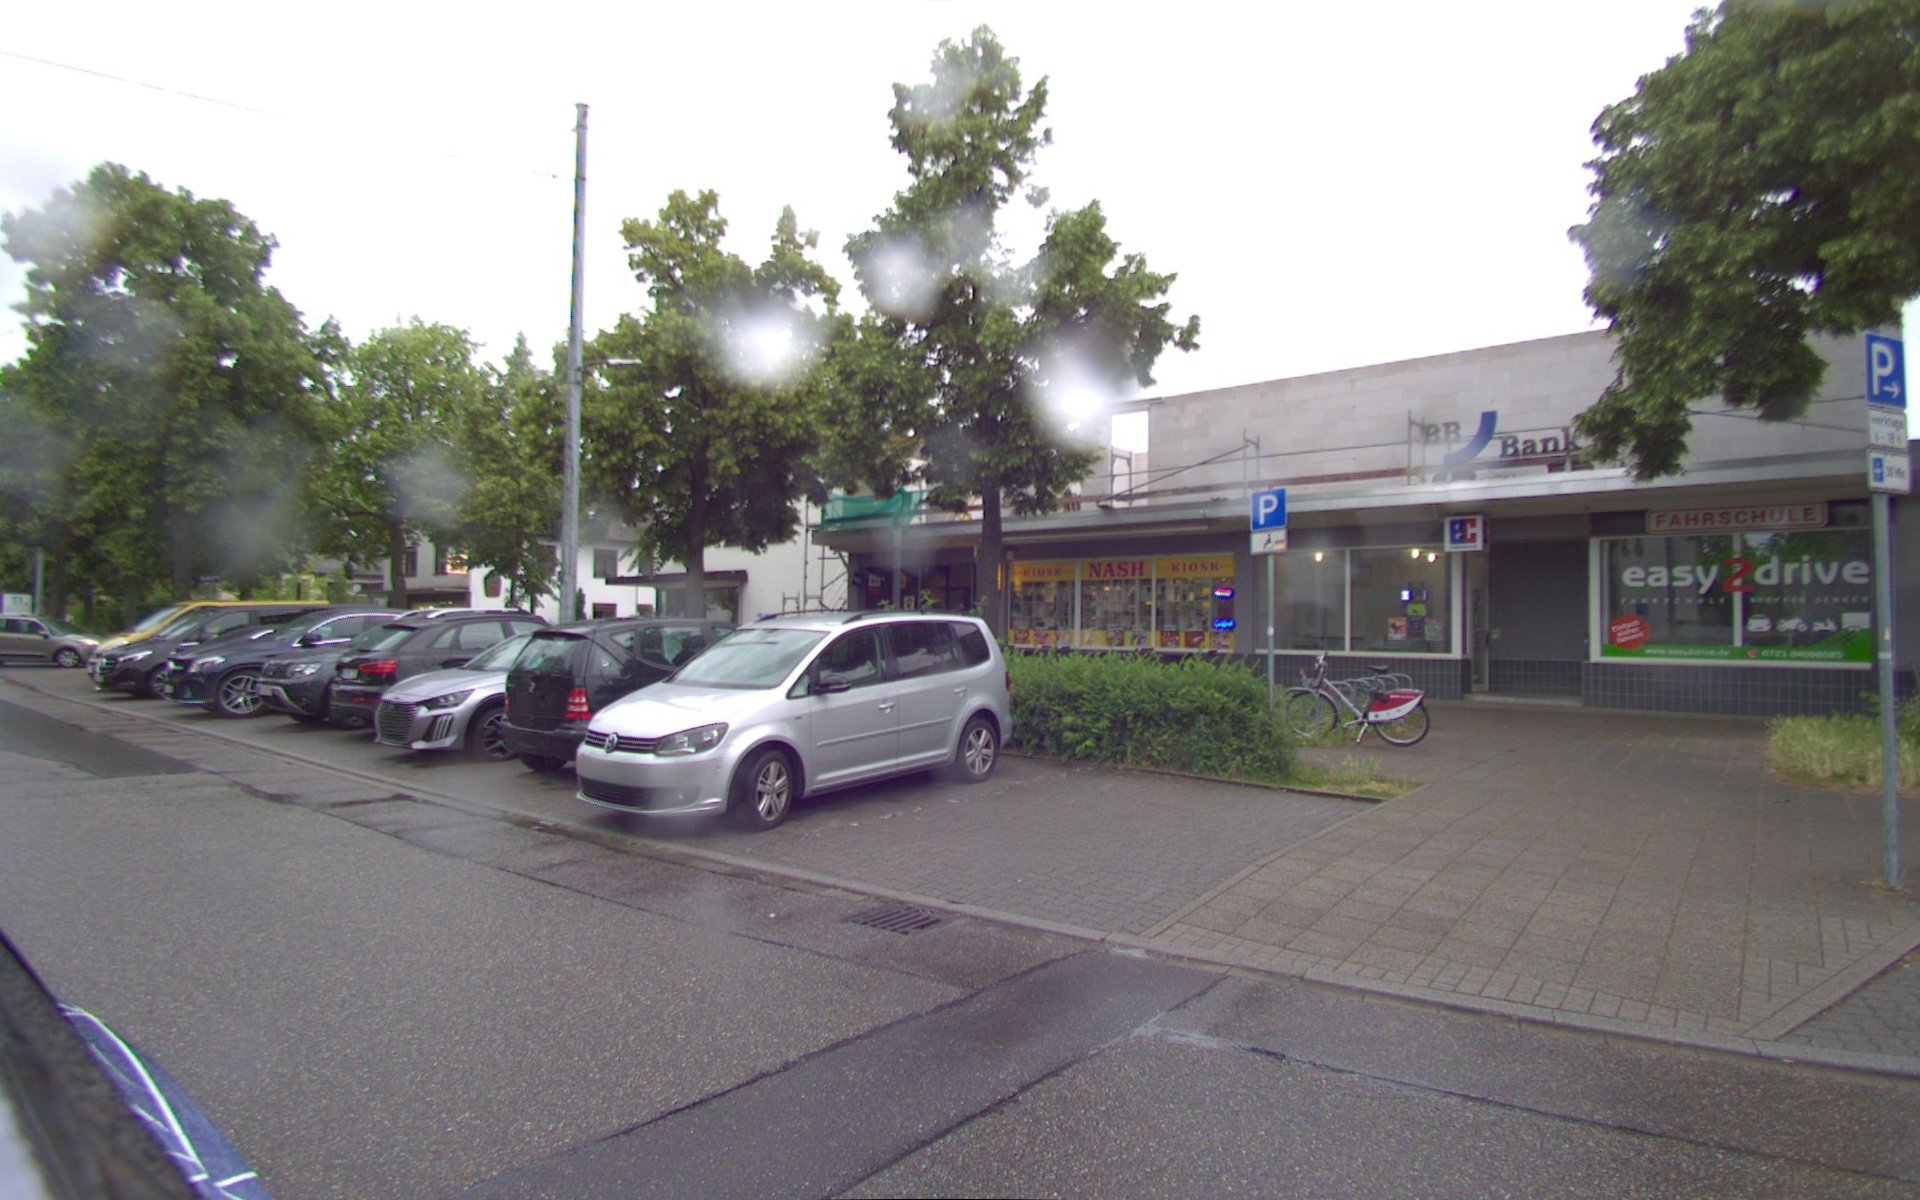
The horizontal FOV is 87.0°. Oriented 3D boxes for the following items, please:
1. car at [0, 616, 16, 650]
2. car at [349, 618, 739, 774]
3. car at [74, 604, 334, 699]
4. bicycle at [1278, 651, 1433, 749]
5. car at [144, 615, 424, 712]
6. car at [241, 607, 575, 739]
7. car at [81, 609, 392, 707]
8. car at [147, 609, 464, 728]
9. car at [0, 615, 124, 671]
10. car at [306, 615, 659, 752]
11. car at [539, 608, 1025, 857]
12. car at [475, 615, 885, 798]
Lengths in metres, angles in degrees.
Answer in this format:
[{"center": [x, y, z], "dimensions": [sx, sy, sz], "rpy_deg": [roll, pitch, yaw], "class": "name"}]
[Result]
[{"center": [-49.710, 1.697, 50.193], "dimensions": [1.997, 1.698, 3.950], "rpy_deg": [-1, 0, 37], "class": "car"}, {"center": [-4.959, 1.028, 12.608], "dimensions": [1.713, 1.544, 4.231], "rpy_deg": [-1, -1, 38], "class": "car"}, {"center": [-17.439, 1.098, 23.569], "dimensions": [1.713, 1.973, 4.600], "rpy_deg": [-1, -1, 38], "class": "car"}, {"center": [4.802, 1.196, 12.345], "dimensions": [1.739, 1.115, 0.316], "rpy_deg": [-1, 0, 25], "class": "bicycle"}, {"center": [-13.024, 1.134, 19.737], "dimensions": [1.713, 1.639, 4.231], "rpy_deg": [-1, -1, 38], "class": "car"}, {"center": [-8.347, 0.987, 15.644], "dimensions": [1.713, 1.740, 4.231], "rpy_deg": [-1, -1, 38], "class": "car"}, {"center": [-15.155, 1.111, 21.519], "dimensions": [1.713, 1.813, 5.114], "rpy_deg": [-1, -1, 38], "class": "car"}, {"center": [-10.995, 1.045, 17.280], "dimensions": [1.713, 1.740, 4.231], "rpy_deg": [-1, -1, 38], "class": "car"}, {"center": [-29.589, 1.359, 32.424], "dimensions": [3.932, 1.700, 1.846], "rpy_deg": [0, 0, -17], "class": "car"}, {"center": [-6.574, 1.032, 14.355], "dimensions": [1.713, 1.607, 4.231], "rpy_deg": [-1, -1, 38], "class": "car"}, {"center": [-1.314, 0.911, 9.009], "dimensions": [1.713, 1.647, 4.231], "rpy_deg": [-1, -1, 38], "class": "car"}, {"center": [-2.854, 0.975, 11.151], "dimensions": [1.633, 1.577, 4.231], "rpy_deg": [-1, 0, 38], "class": "car"}]
